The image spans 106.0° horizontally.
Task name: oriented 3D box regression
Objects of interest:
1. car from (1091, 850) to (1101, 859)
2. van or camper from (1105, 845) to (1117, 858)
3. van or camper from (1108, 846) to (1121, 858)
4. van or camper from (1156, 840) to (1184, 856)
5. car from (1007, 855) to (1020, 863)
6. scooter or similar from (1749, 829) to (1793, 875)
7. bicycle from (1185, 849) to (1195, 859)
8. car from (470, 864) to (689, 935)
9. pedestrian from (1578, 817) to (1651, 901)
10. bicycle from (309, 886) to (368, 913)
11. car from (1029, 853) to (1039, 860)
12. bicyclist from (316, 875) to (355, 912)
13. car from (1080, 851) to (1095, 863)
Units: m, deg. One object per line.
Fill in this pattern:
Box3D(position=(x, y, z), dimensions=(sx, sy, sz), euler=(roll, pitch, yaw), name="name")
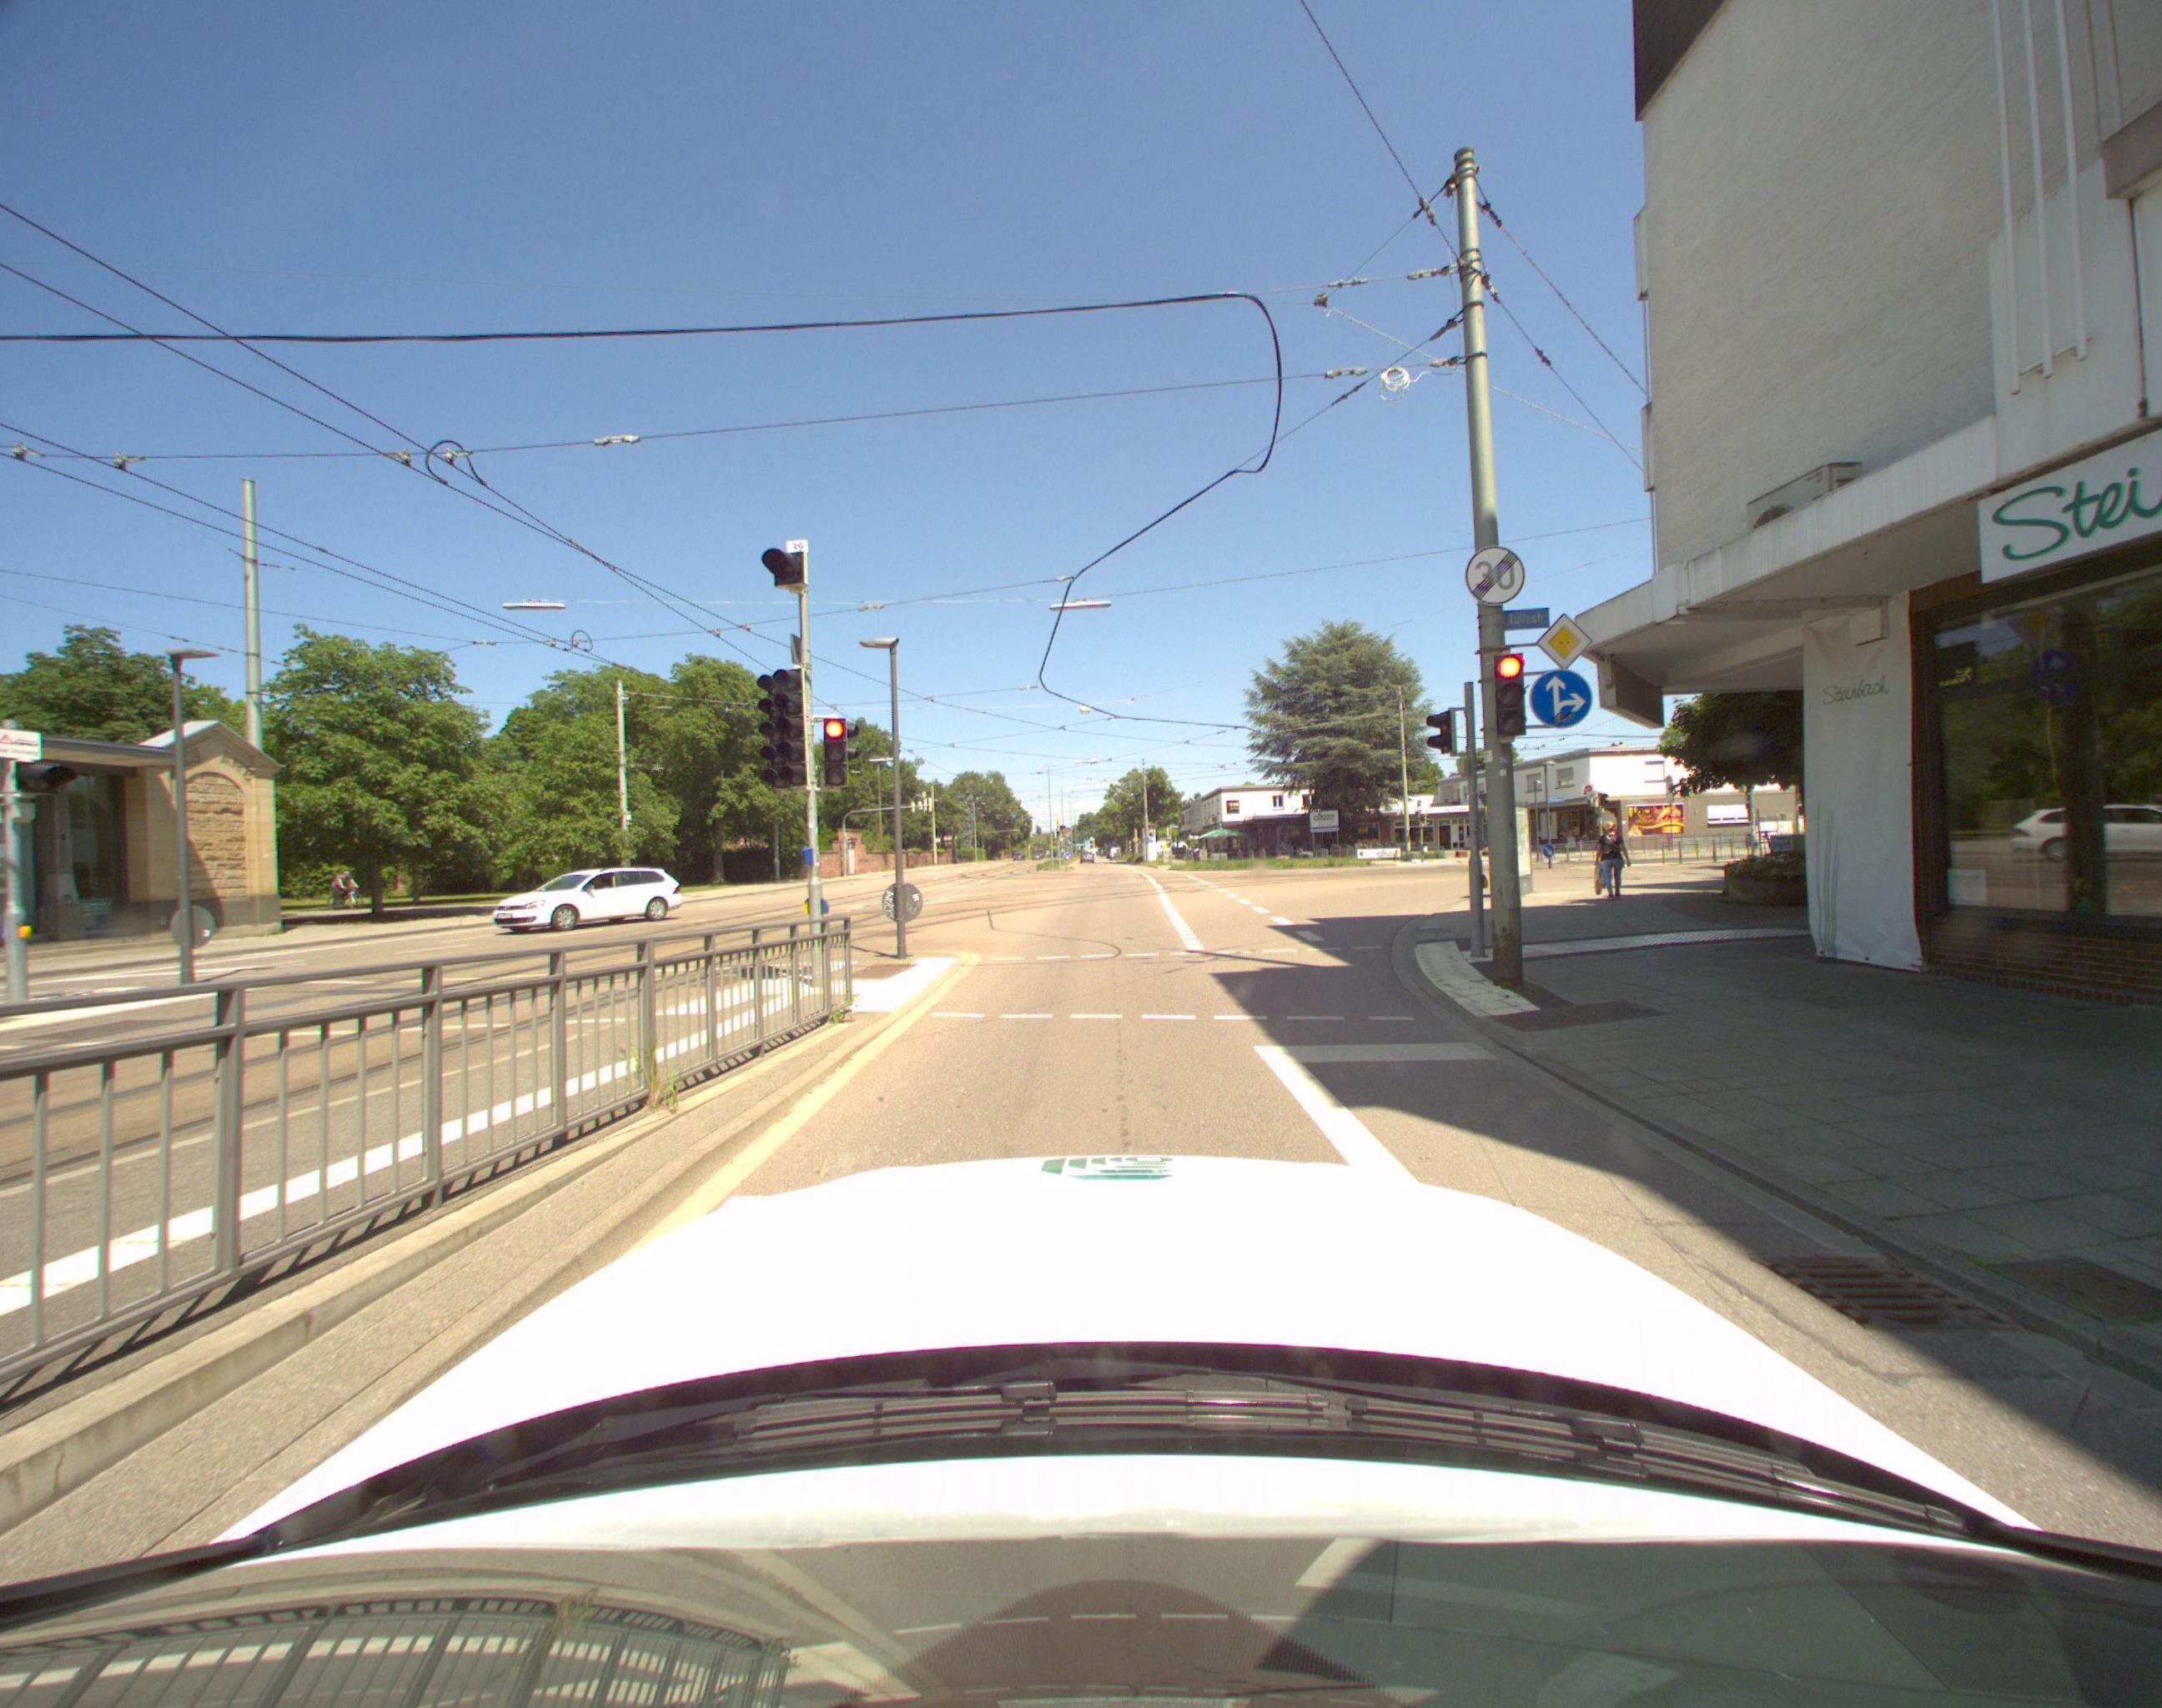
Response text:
Box3D(position=(2.725, 0.120, 146.882), dimensions=(1.663, 1.435, 3.477), euler=(-2, 0, 3), name="car")
Box3D(position=(5.597, -0.462, 152.941), dimensions=(1.988, 2.464, 3.998), euler=(-2, 0, -2), name="van or camper")
Box3D(position=(5.371, -0.337, 130.460), dimensions=(1.915, 1.772, 4.001), euler=(-2, 0, 2), name="van or camper")
Box3D(position=(15.633, -1.108, 143.252), dimensions=(4.742, 2.671, 2.135), euler=(-2, 0, -1), name="van or camper")
Box3D(position=(-13.424, 1.003, 162.082), dimensions=(1.813, 1.603, 4.522), euler=(-2, 0, 2), name="car")
Box3D(position=(18.695, -0.059, 22.064), dimensions=(1.258, 1.212, 0.391), euler=(-2, 0, -26), name="scooter or similar")
Box3D(position=(11.308, 0.008, 84.402), dimensions=(1.028, 1.014, 2.643), euler=(-2, 0, 8), name="bicycle")
Box3D(position=(-12.655, 1.099, 20.932), dimensions=(1.802, 1.489, 4.524), euler=(-2, 0, 23), name="car")
Box3D(position=(10.793, 0.094, 16.495), dimensions=(0.822, 1.583, 0.828), euler=(-6, -1, 7), name="pedestrian")
Box3D(position=(-31.895, 1.942, 34.985), dimensions=(2.084, 1.041, 0.719), euler=(-2, 0, 9), name="bicycle")
Box3D(position=(-9.988, 0.576, 172.722), dimensions=(1.634, 1.421, 4.171), euler=(-2, 0, 3), name="car")
Box3D(position=(-32.034, 1.694, 34.994), dimensions=(0.837, 1.530, 0.856), euler=(-2, 0, 9), name="bicyclist")
Box3D(position=(0.806, 0.393, 102.220), dimensions=(1.632, 1.351, 3.839), euler=(-2, 0, -2), name="car")
